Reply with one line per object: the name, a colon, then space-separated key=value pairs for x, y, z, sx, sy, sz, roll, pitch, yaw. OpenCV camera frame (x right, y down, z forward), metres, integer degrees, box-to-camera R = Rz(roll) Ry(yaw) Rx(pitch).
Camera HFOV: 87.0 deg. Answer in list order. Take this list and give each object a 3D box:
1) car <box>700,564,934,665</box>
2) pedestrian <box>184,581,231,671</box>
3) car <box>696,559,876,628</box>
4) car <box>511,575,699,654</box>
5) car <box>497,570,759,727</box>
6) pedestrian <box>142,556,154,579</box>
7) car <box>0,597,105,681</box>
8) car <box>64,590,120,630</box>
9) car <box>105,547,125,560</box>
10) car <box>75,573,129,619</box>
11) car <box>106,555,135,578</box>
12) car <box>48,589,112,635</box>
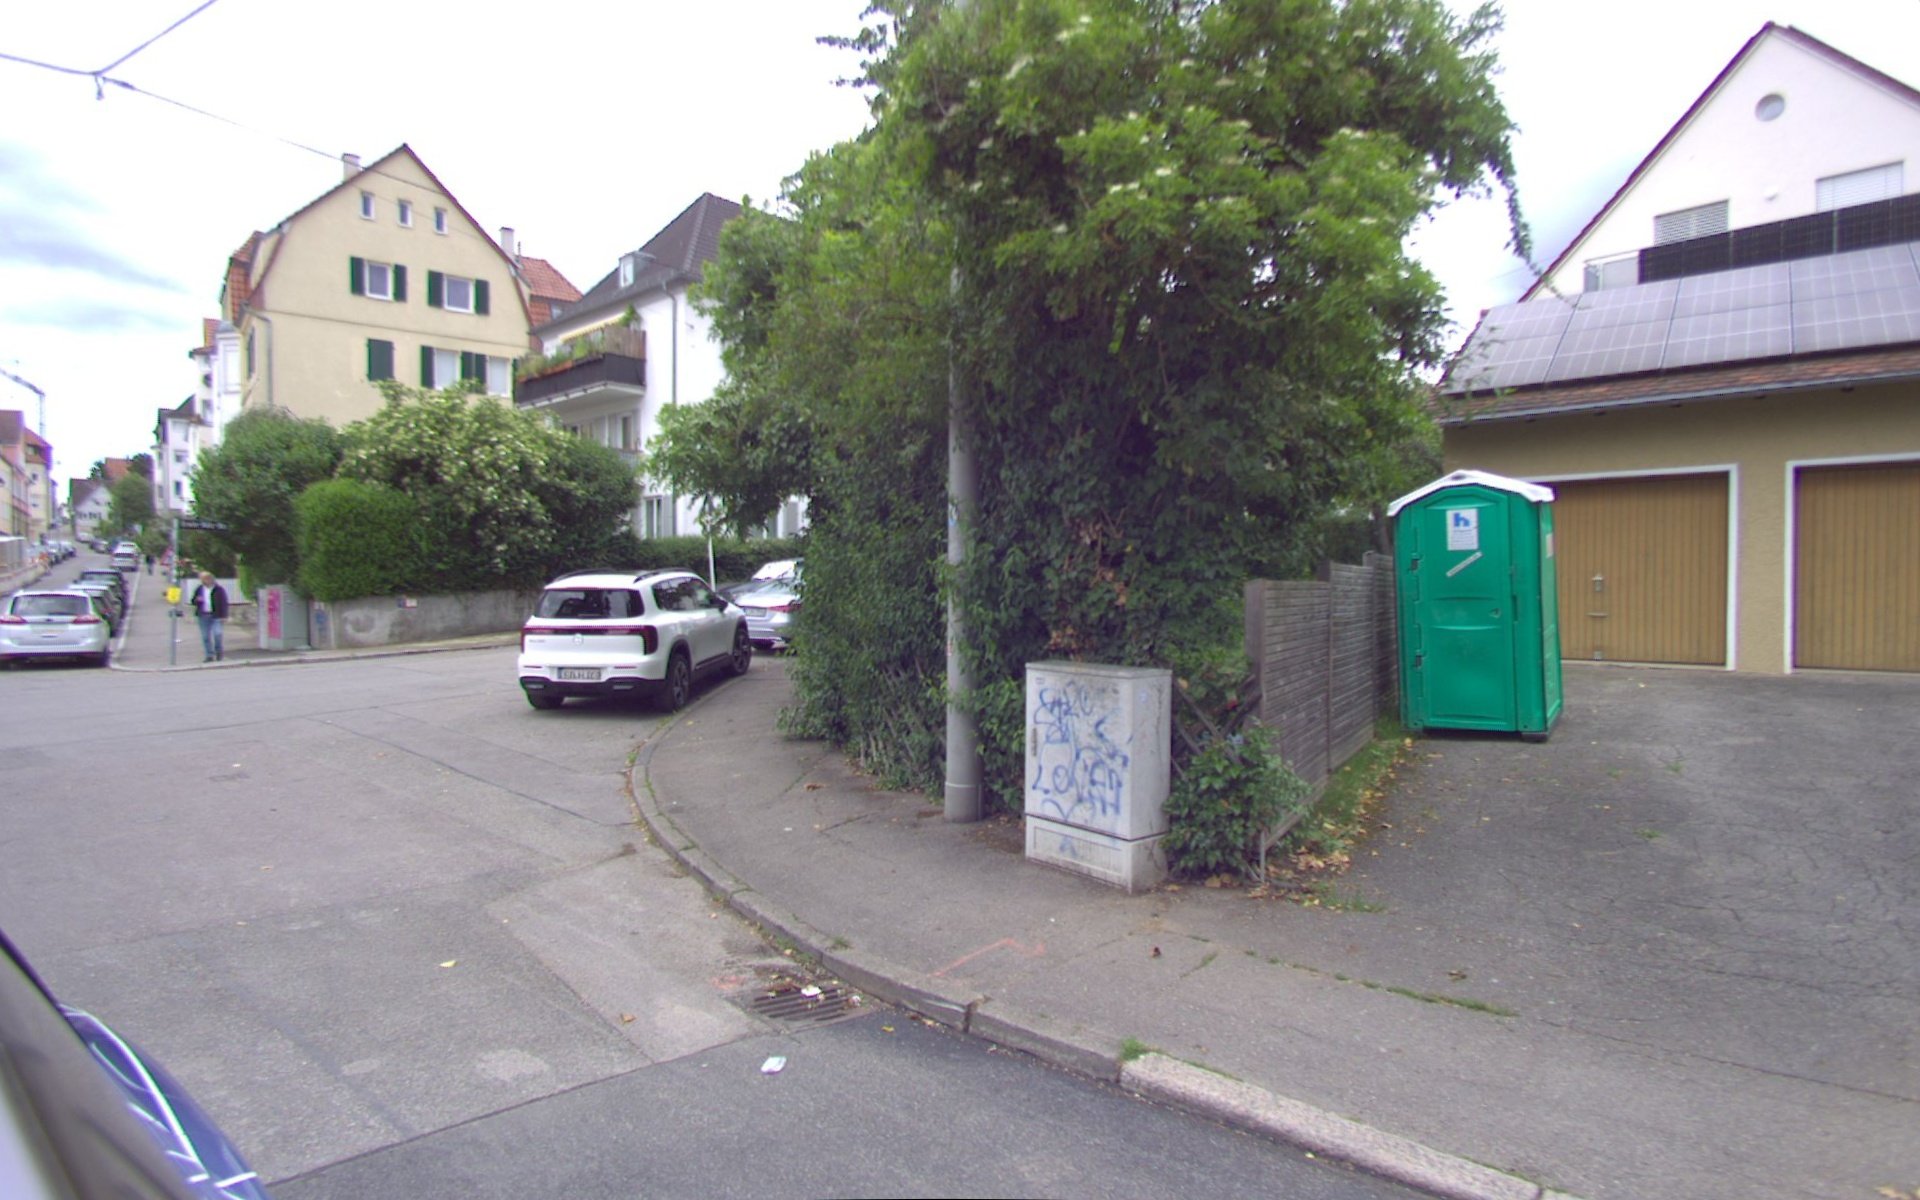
car: x=-2.551 y=0.178 z=19.121 sx=1.830 sy=1.447 sz=4.465 roll=0 pitch=4 yaw=34
pedestrian: x=-15.390 y=0.517 z=20.705 sx=0.633 sy=1.773 sz=0.825 roll=-3 pitch=2 yaw=-32
car: x=-4.670 y=-0.238 z=27.718 sx=1.887 sy=1.493 sz=4.672 roll=0 pitch=5 yaw=41
car: x=-8.215 y=0.283 z=23.619 sx=1.787 sy=1.534 sz=3.669 roll=-1 pitch=3 yaw=42
car: x=-4.211 y=0.492 z=13.703 sx=1.810 sy=1.667 sz=4.511 roll=-2 pitch=2 yaw=3
pedestrian: x=-58.454 y=-2.325 z=72.886 sx=0.607 sy=1.668 sz=0.814 roll=-2 pitch=3 yaw=-38
car: x=-19.934 y=0.768 z=22.150 sx=1.781 sy=1.672 sz=4.158 roll=0 pitch=0 yaw=-39
car: x=-34.517 y=0.358 z=40.300 sx=1.618 sy=1.409 sz=3.710 roll=0 pitch=2 yaw=-39
car: x=-104.126 y=-5.746 z=124.705 sx=1.755 sy=1.578 sz=4.009 roll=-1 pitch=4 yaw=-38
car: x=-37.965 y=-0.197 z=44.728 sx=1.727 sy=1.810 sz=4.156 roll=1 pitch=2 yaw=-41
car: x=-65.526 y=-2.632 z=79.036 sx=1.637 sy=1.578 sz=4.009 roll=0 pitch=3 yaw=-38
car: x=-32.086 y=0.418 z=36.957 sx=1.618 sy=1.439 sz=4.131 roll=1 pitch=2 yaw=-39
